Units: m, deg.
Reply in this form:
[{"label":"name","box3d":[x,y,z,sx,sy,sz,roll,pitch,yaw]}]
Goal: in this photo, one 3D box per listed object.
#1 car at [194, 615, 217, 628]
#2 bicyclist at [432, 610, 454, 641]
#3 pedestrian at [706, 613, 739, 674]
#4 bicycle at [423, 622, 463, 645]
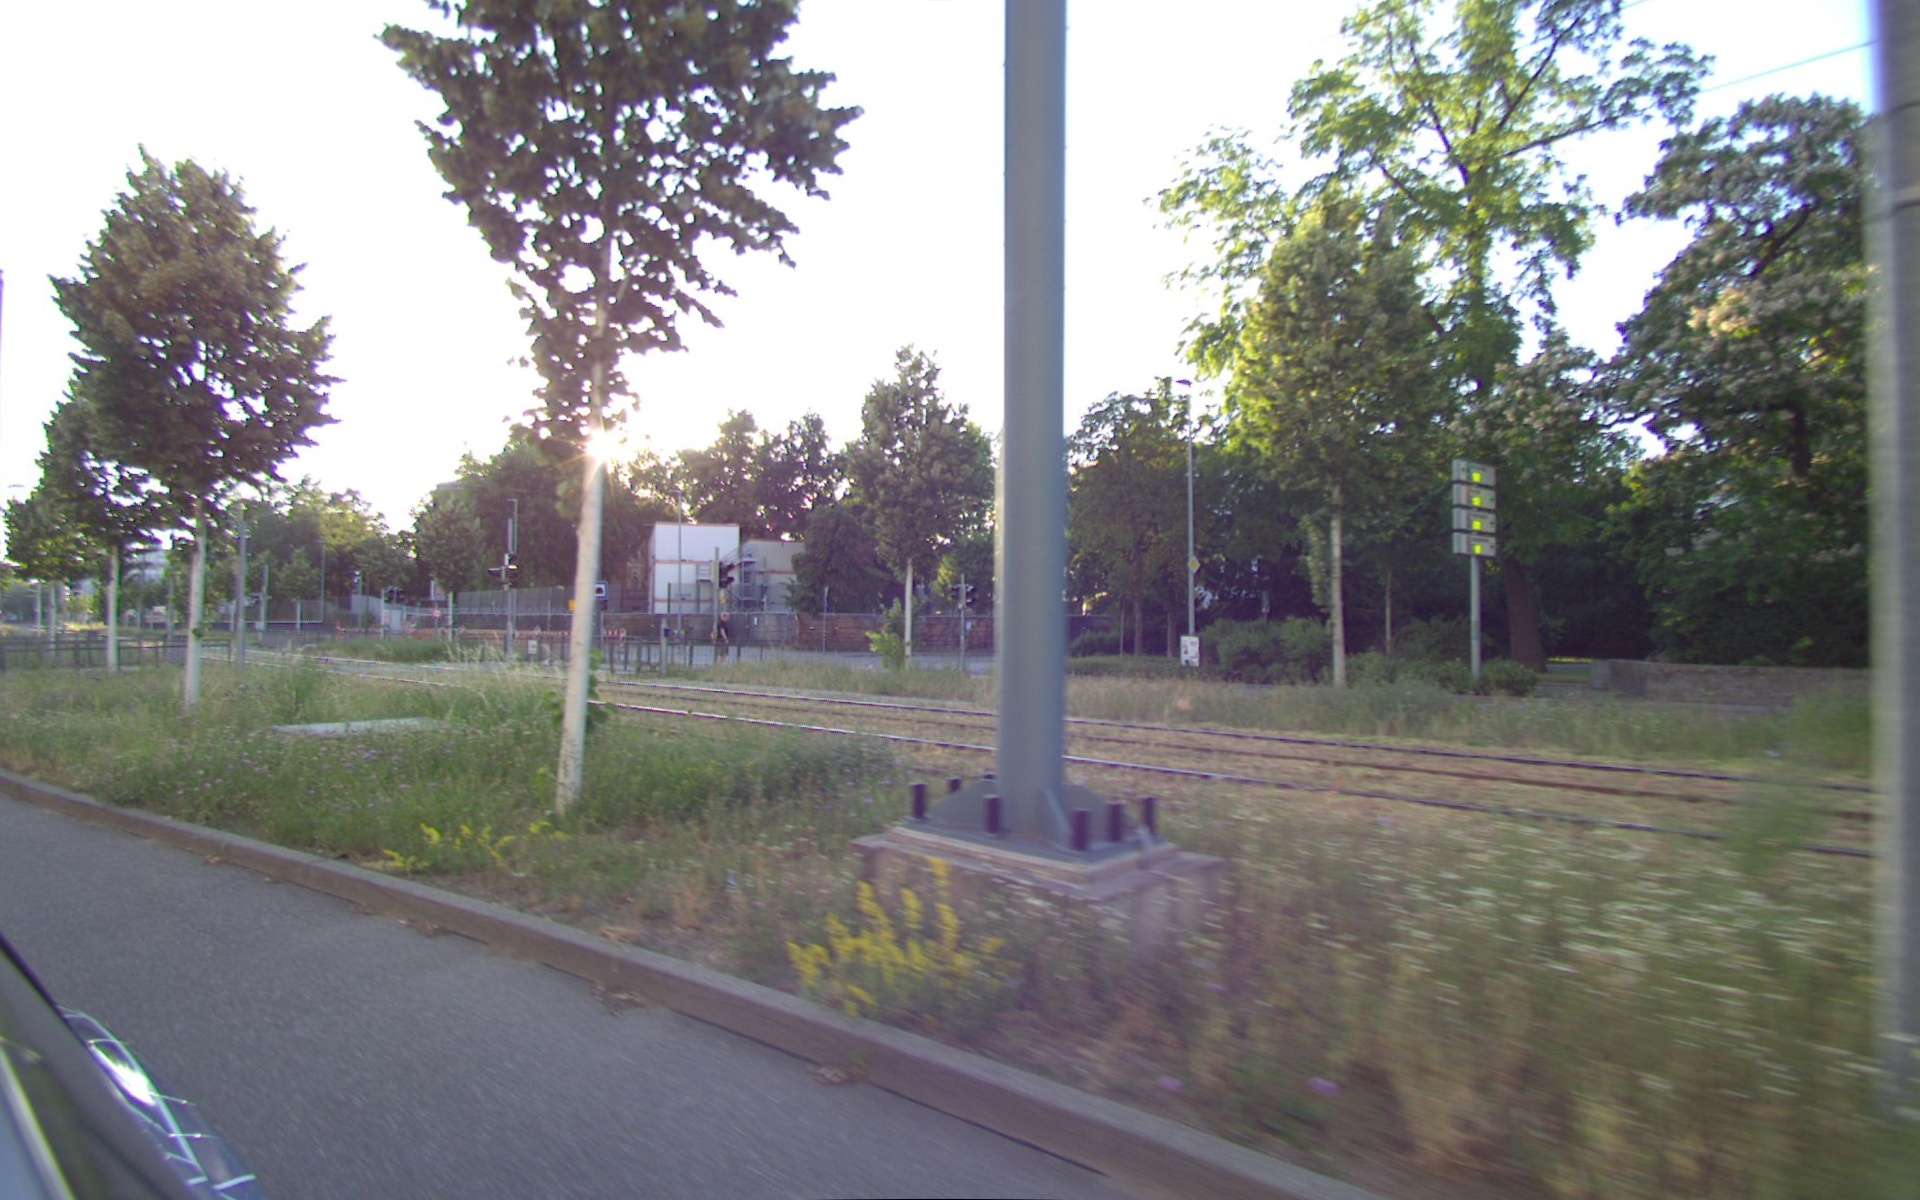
[{"label":"car","box3d":[-97.891,2.772,131.264,1.823,1.572,3.802,-2,0,-45]},{"label":"bicyclist","box3d":[-28.165,1.400,55.123,0.928,1.633,0.719,-2,0,-19]},{"label":"pedestrian","box3d":[-6.652,1.218,28.306,0.660,1.620,0.679,-2,-4,-28]},{"label":"bicycle","box3d":[-28.153,1.804,55.121,1.866,1.142,0.719,-2,0,-19]}]
